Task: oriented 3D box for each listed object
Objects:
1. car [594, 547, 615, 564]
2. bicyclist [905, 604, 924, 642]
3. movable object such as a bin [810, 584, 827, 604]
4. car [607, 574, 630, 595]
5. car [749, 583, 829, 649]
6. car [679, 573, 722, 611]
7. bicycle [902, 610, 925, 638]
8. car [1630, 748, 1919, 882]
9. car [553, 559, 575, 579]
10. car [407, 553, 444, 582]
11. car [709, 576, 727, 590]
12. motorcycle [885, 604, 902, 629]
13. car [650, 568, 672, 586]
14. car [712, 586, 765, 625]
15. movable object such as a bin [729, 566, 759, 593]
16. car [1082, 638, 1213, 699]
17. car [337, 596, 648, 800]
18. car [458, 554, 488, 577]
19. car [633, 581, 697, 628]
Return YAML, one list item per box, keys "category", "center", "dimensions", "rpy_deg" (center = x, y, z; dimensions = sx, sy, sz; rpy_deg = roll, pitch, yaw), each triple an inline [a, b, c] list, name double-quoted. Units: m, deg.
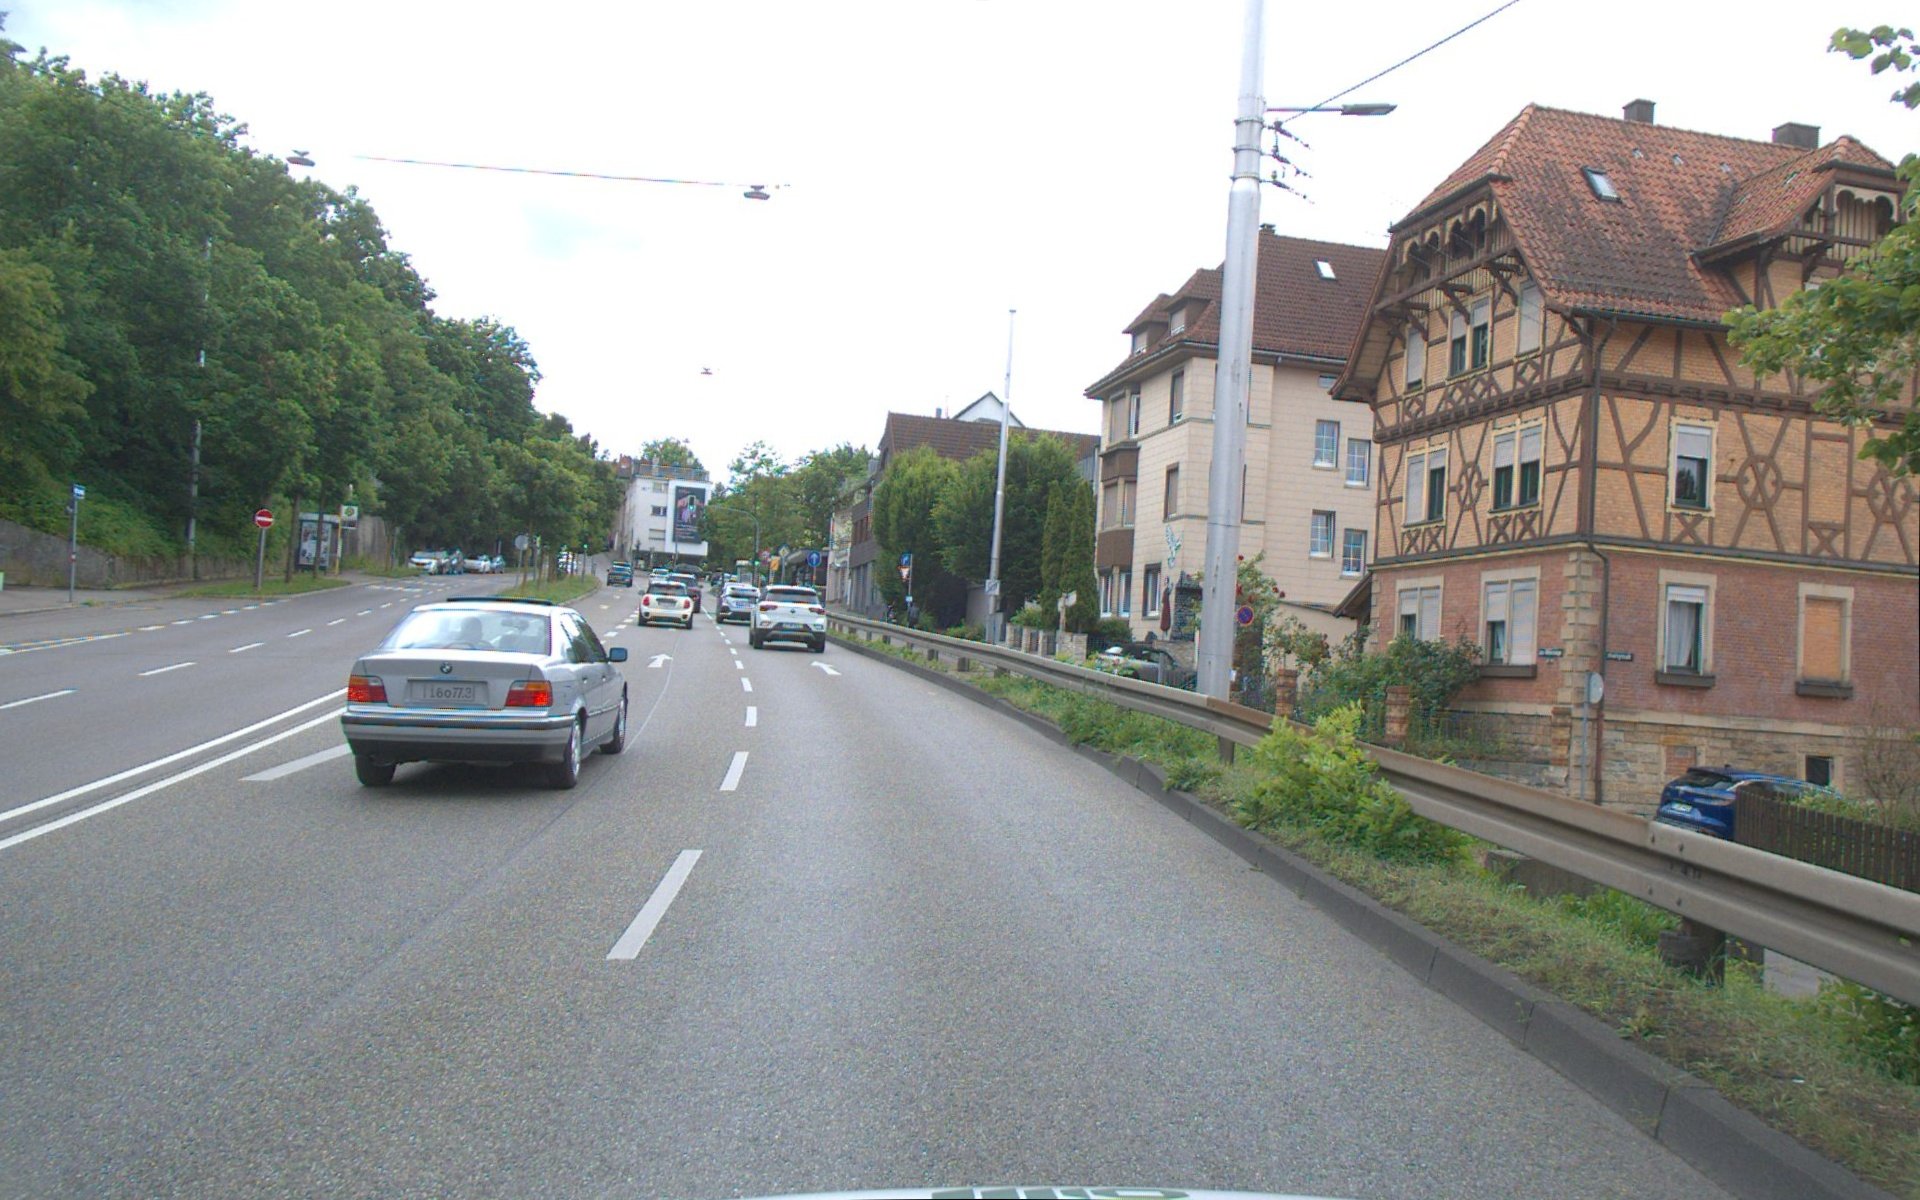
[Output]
- category: "car"
  center: [-48.960, -6.177, 227.797]
  dimensions: [2.465, 2.048, 5.170]
  rpy_deg: [6, 0, -10]
- category: "bicyclist"
  center: [-1.901, 0.941, 69.009]
  dimensions: [0.556, 1.551, 0.956]
  rpy_deg: [1, 1, -12]
- category: "movable object such as a bin"
  center: [-10.842, -0.455, 126.663]
  dimensions: [1.174, 1.432, 0.709]
  rpy_deg: [5, 0, -11]
- category: "car"
  center: [-26.642, -1.186, 128.940]
  dimensions: [1.693, 1.610, 3.445]
  rpy_deg: [1, 0, -13]
- category: "car"
  center: [-4.303, 0.380, 41.144]
  dimensions: [1.764, 1.545, 3.449]
  rpy_deg: [1, 0, -9]
- category: "car"
  center: [-11.728, -0.366, 74.637]
  dimensions: [1.693, 1.668, 3.445]
  rpy_deg: [1, 0, -13]
- category: "bicycle"
  center: [-1.949, 0.983, 69.206]
  dimensions: [0.556, 1.081, 1.999]
  rpy_deg: [1, 1, -12]
- category: "car"
  center: [13.438, 3.522, 27.235]
  dimensions: [3.919, 1.600, 1.994]
  rpy_deg: [6, 0, -13]
- category: "car"
  center: [-38.442, -2.997, 160.642]
  dimensions: [1.827, 1.698, 4.268]
  rpy_deg: [6, 0, -11]
- category: "car"
  center: [-35.689, -2.184, 110.504]
  dimensions: [1.828, 1.698, 4.267]
  rpy_deg: [6, 0, -12]
- category: "car"
  center: [-24.993, -1.712, 170.786]
  dimensions: [1.692, 1.400, 3.447]
  rpy_deg: [1, 0, -11]
- category: "motorcycle"
  center: [-3.398, 0.827, 84.166]
  dimensions: [0.597, 1.182, 2.036]
  rpy_deg: [3, 1, -10]
- category: "car"
  center: [-24.915, -1.924, 137.754]
  dimensions: [1.692, 1.400, 3.447]
  rpy_deg: [1, 0, -11]
- category: "car"
  center: [-8.269, 0.190, 61.561]
  dimensions: [1.692, 1.400, 3.446]
  rpy_deg: [1, 0, -12]
- category: "movable object such as a bin"
  center: [-16.806, -1.596, 128.695]
  dimensions: [1.863, 1.902, 1.520]
  rpy_deg: [5, 0, -19]
- category: "car"
  center: [5.776, 2.104, 50.928]
  dimensions: [3.560, 1.459, 1.690]
  rpy_deg: [6, 0, -27]
- category: "car"
  center: [-3.675, 0.707, 13.791]
  dimensions: [1.602, 1.407, 4.615]
  rpy_deg: [0, -1, -5]
- category: "car"
  center: [-38.951, -2.756, 132.404]
  dimensions: [1.828, 1.621, 4.267]
  rpy_deg: [6, 0, -12]
- category: "car"
  center: [-9.407, 0.128, 52.664]
  dimensions: [1.694, 1.400, 3.442]
  rpy_deg: [1, 0, -15]
